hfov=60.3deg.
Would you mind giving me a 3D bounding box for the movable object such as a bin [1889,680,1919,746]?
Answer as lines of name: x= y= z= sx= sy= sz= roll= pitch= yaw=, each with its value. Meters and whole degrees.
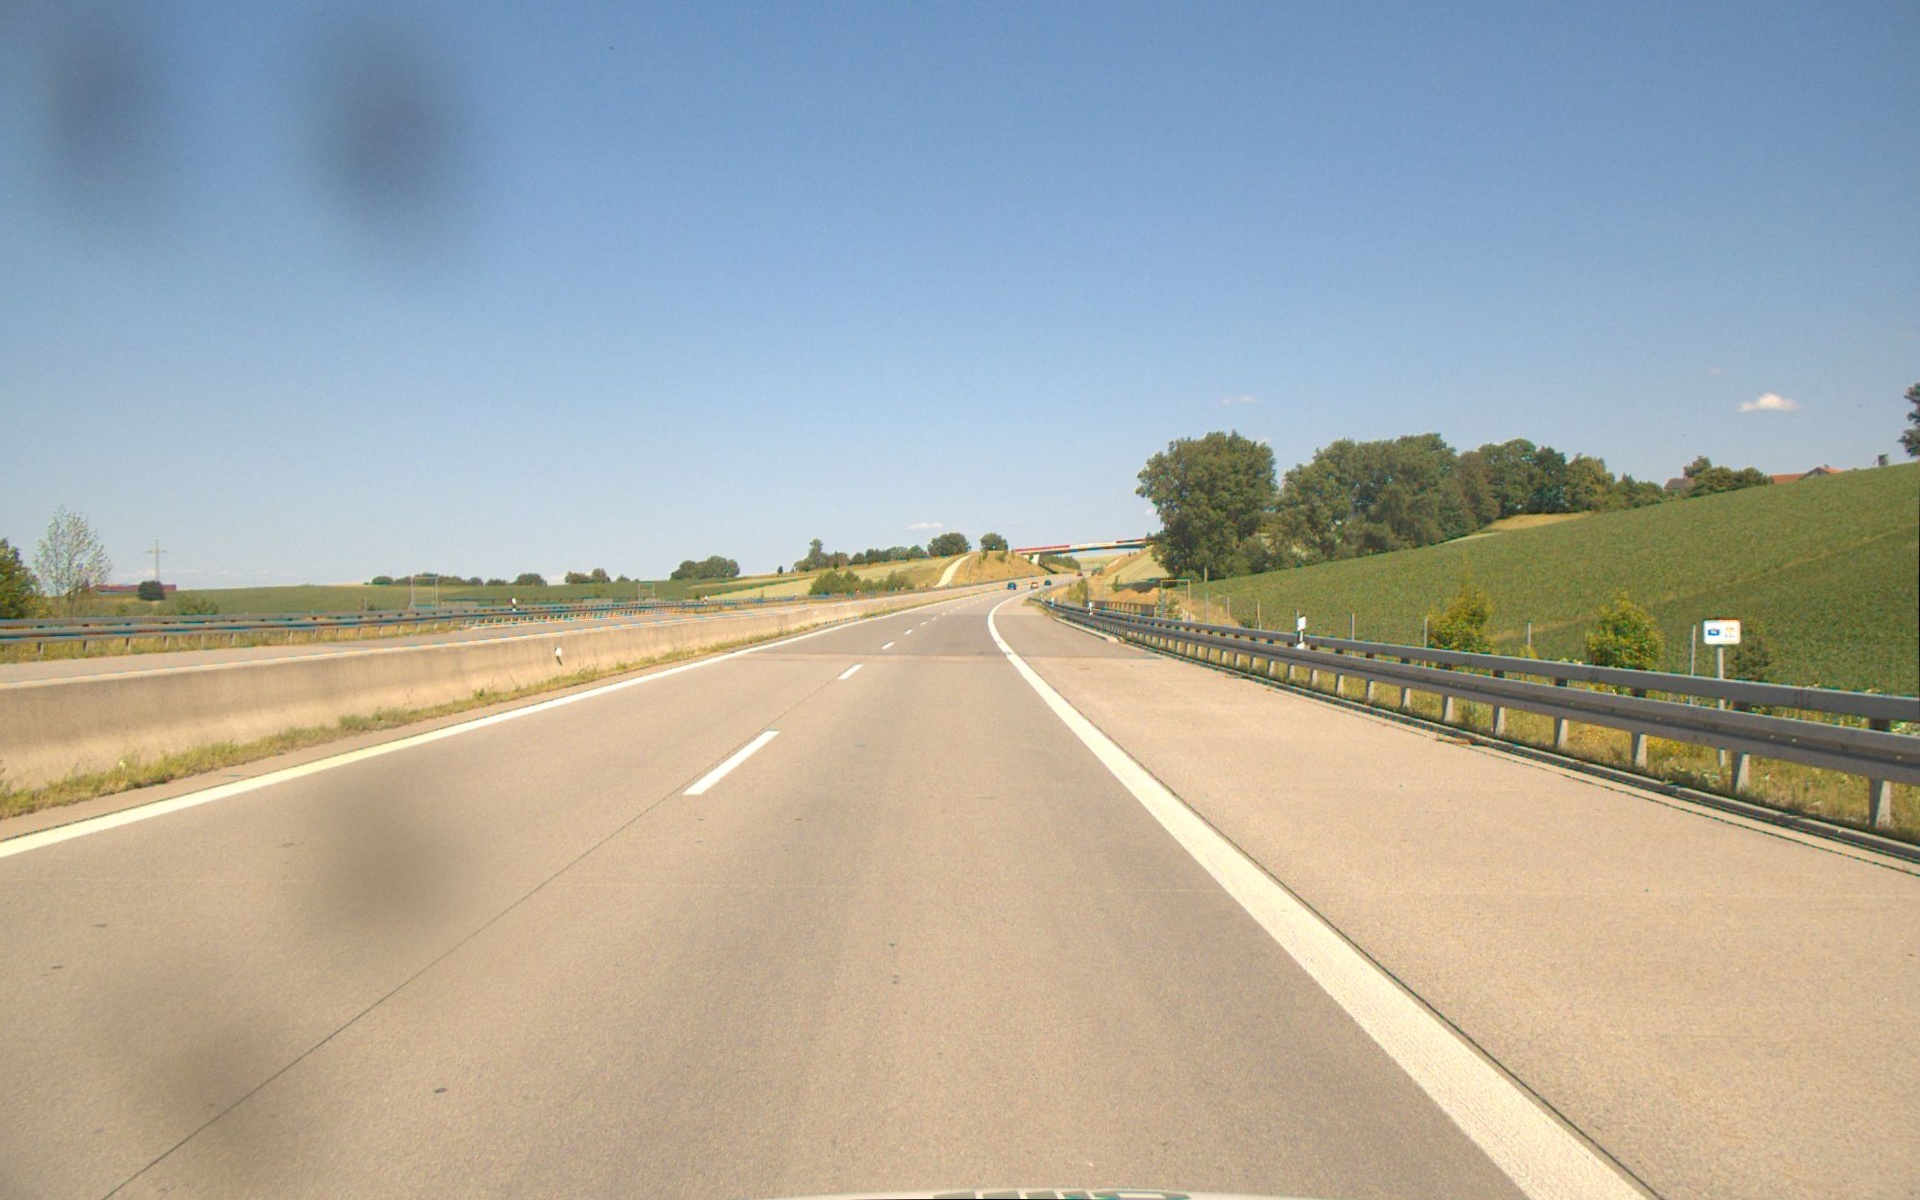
movable object such as a bin: x=44.330 y=5.000 z=72.242 sx=6.117 sy=2.819 sz=3.269 roll=0 pitch=-2 yaw=40
